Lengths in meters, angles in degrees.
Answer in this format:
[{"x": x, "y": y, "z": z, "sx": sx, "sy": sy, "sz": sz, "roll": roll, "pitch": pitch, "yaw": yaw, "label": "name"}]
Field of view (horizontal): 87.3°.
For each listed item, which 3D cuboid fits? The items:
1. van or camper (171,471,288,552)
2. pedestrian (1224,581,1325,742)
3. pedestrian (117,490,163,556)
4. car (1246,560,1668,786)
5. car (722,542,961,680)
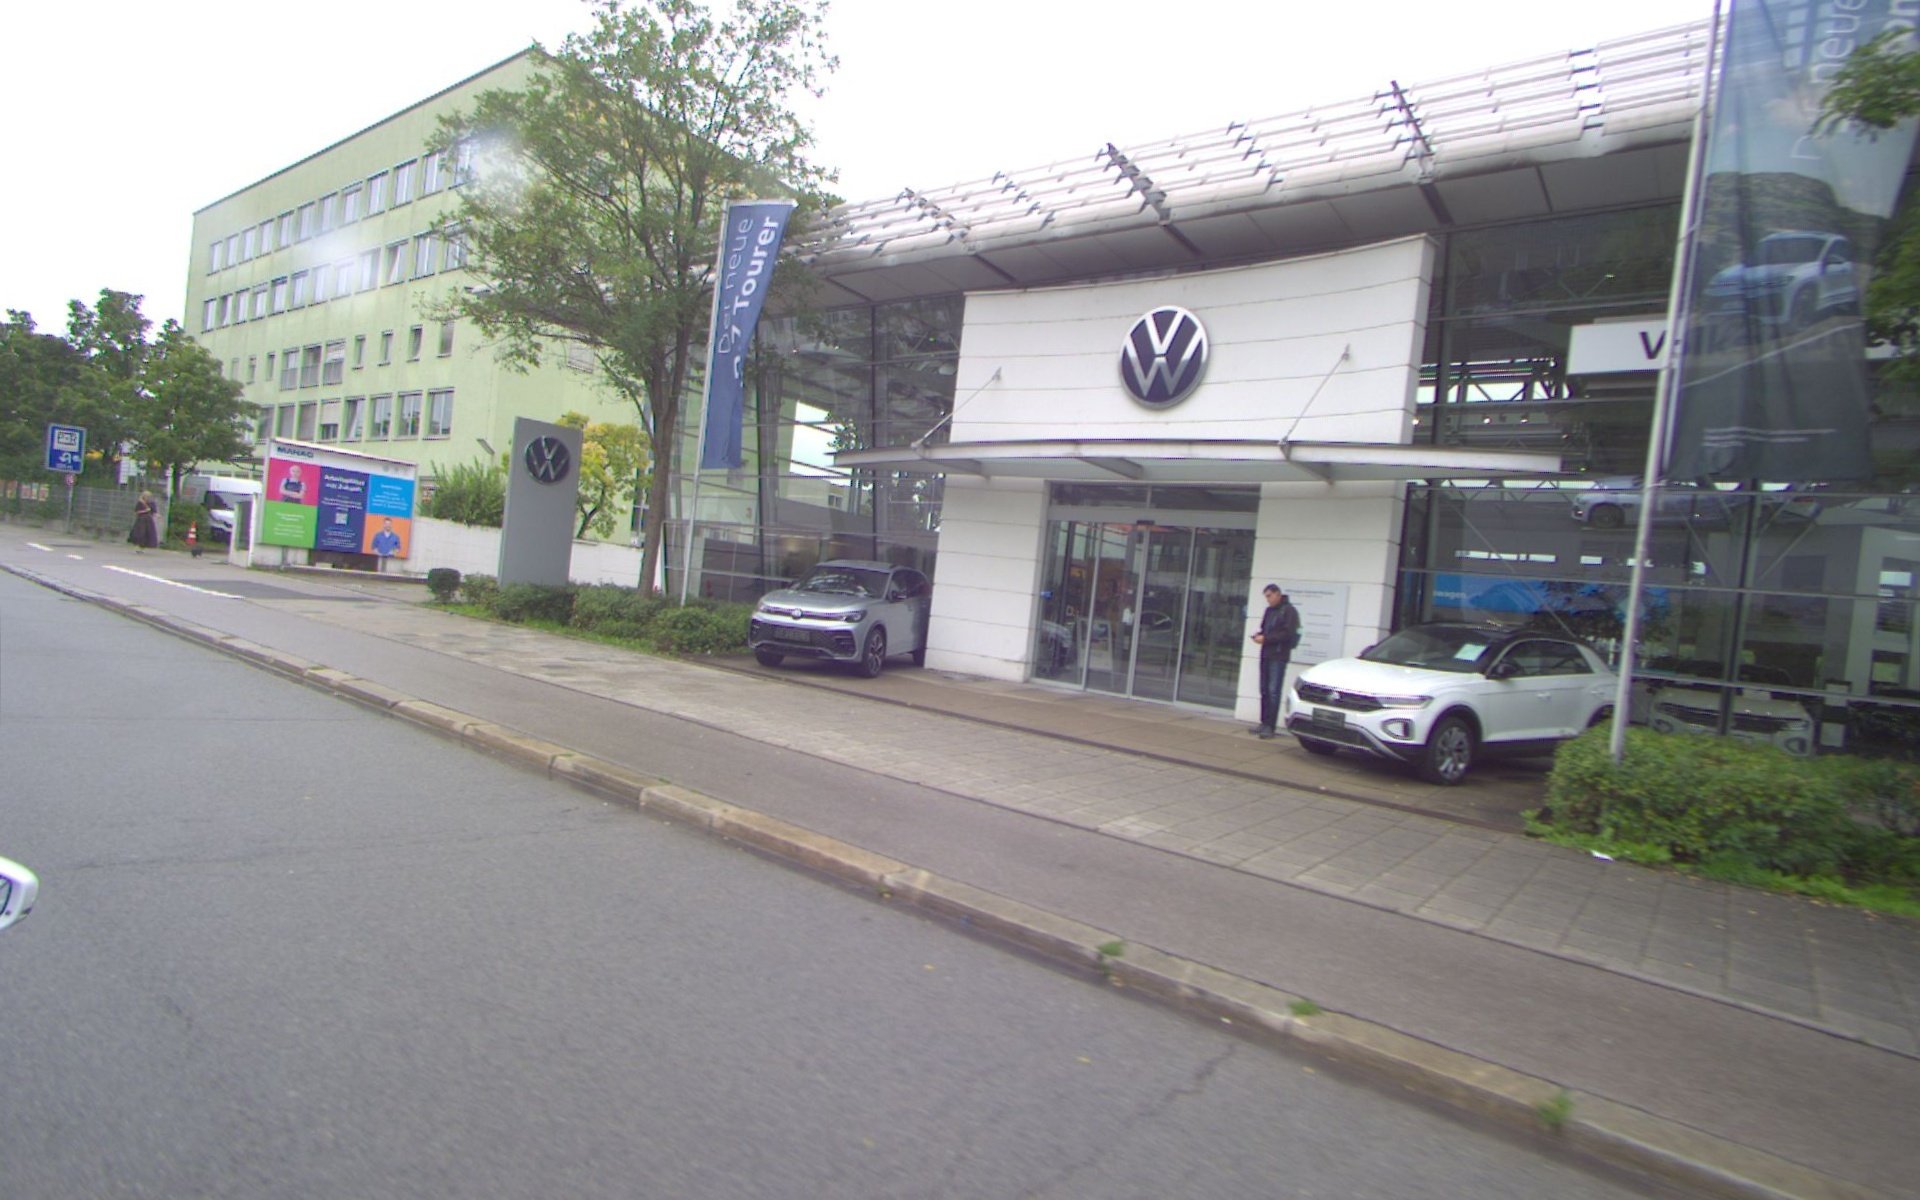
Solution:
[{"x": -27.512, "y": -3.361, "z": 37.749, "sx": 7.290, "sy": 2.528, "sz": 2.120, "roll": 7, "pitch": 0, "yaw": 44, "label": "van or camper"}, {"x": 3.746, "y": 0.712, "z": 12.043, "sx": 0.704, "sy": 1.798, "sz": 0.805, "roll": 6, "pitch": 1, "yaw": -7, "label": "pedestrian"}, {"x": -23.025, "y": -2.146, "z": 28.235, "sx": 0.881, "sy": 1.753, "sz": 0.757, "roll": 7, "pitch": 4, "yaw": 33, "label": "pedestrian"}, {"x": 5.471, "y": 0.778, "z": 11.026, "sx": 4.209, "sy": 2.040, "sz": 1.949, "roll": 4, "pitch": 1, "yaw": -28, "label": "car"}, {"x": -1.661, "y": 0.161, "z": 16.007, "sx": 1.970, "sy": 1.729, "sz": 4.601, "roll": 5, "pitch": 1, "yaw": 17, "label": "car"}]
